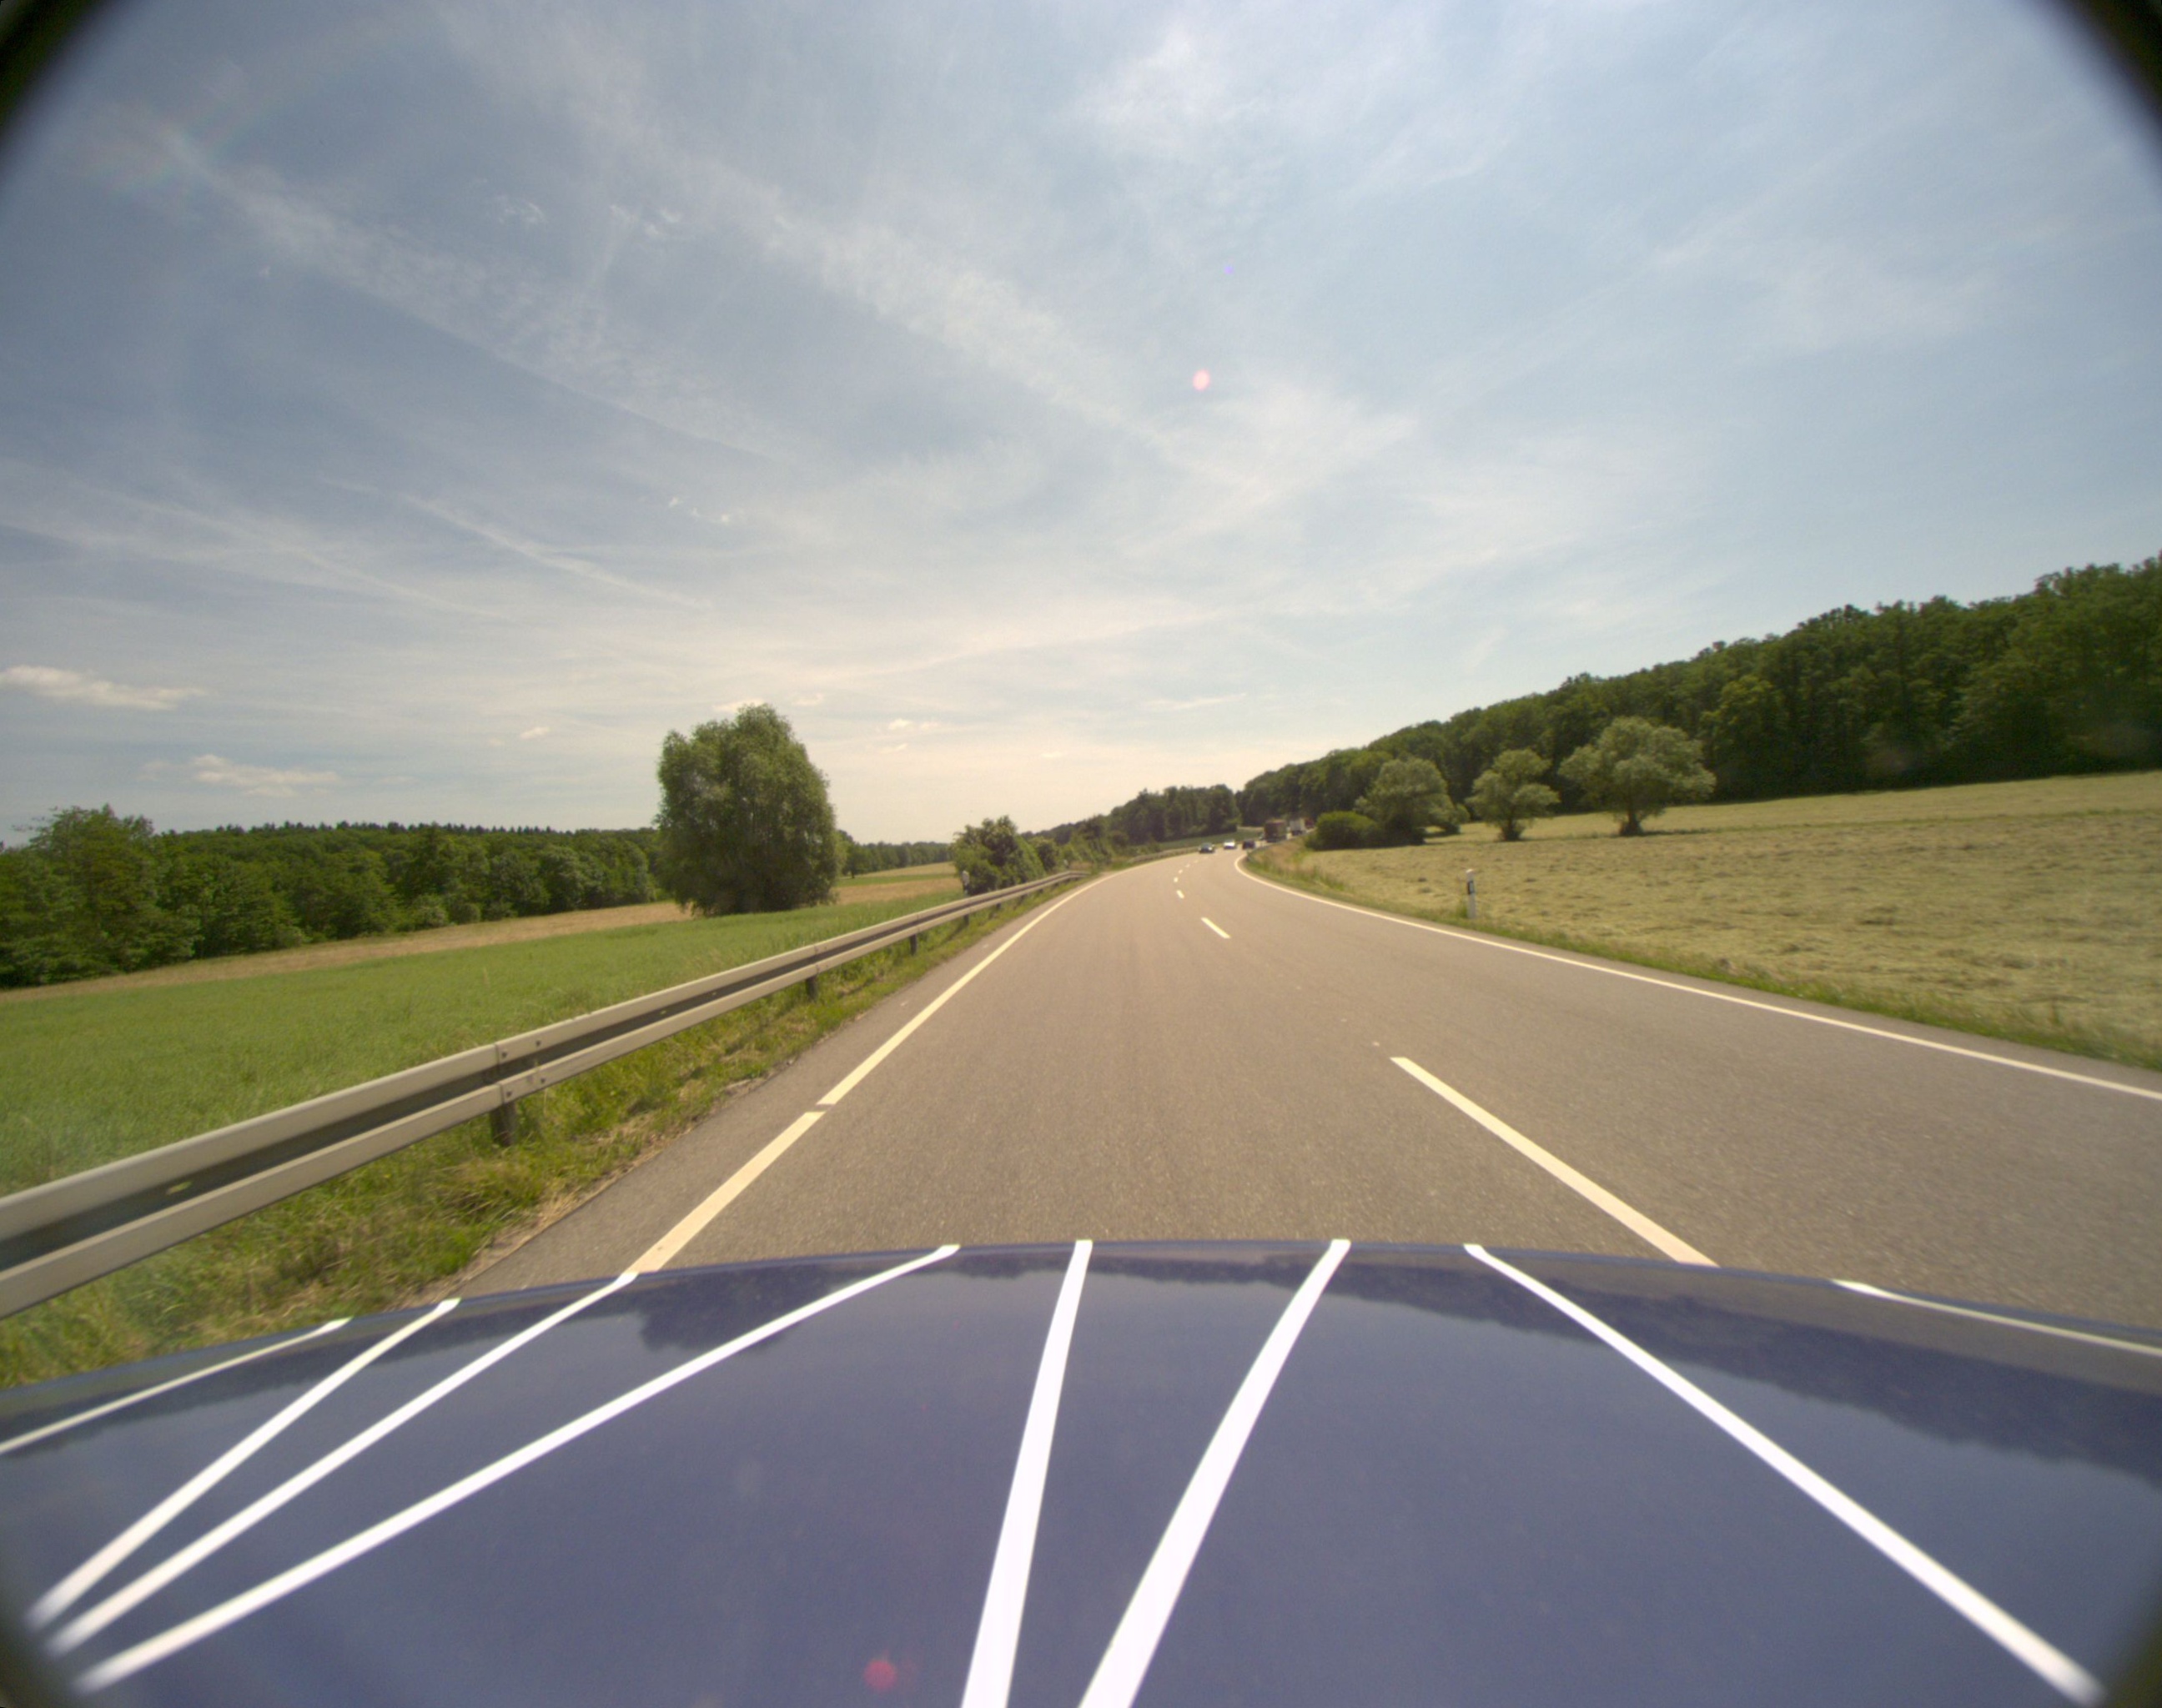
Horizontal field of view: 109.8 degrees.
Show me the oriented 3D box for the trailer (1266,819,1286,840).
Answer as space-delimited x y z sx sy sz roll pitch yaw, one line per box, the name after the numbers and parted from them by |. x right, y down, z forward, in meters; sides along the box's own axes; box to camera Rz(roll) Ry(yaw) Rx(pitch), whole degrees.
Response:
39.852 -5.045 155.026 3.245 4.127 14.457 -1 2 18 | trailer

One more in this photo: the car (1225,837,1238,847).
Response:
24.003 -1.963 121.102 1.619 1.428 3.446 -3 2 19 | car

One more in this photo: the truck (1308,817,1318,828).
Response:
78.508 -10.692 257.043 2.706 3.630 10.109 -3 2 19 | truck

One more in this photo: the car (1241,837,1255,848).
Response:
25.530 -1.774 116.064 1.702 1.461 4.204 -1 1 17 | car

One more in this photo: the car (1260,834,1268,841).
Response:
40.881 -3.694 169.424 1.620 1.428 3.446 -3 1 15 | car

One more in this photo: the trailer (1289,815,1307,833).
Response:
56.866 -7.877 198.663 3.377 4.376 13.760 -1 2 20 | trailer

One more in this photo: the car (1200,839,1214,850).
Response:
17.215 -1.298 103.846 1.620 1.428 3.445 -3 1 13 | car
